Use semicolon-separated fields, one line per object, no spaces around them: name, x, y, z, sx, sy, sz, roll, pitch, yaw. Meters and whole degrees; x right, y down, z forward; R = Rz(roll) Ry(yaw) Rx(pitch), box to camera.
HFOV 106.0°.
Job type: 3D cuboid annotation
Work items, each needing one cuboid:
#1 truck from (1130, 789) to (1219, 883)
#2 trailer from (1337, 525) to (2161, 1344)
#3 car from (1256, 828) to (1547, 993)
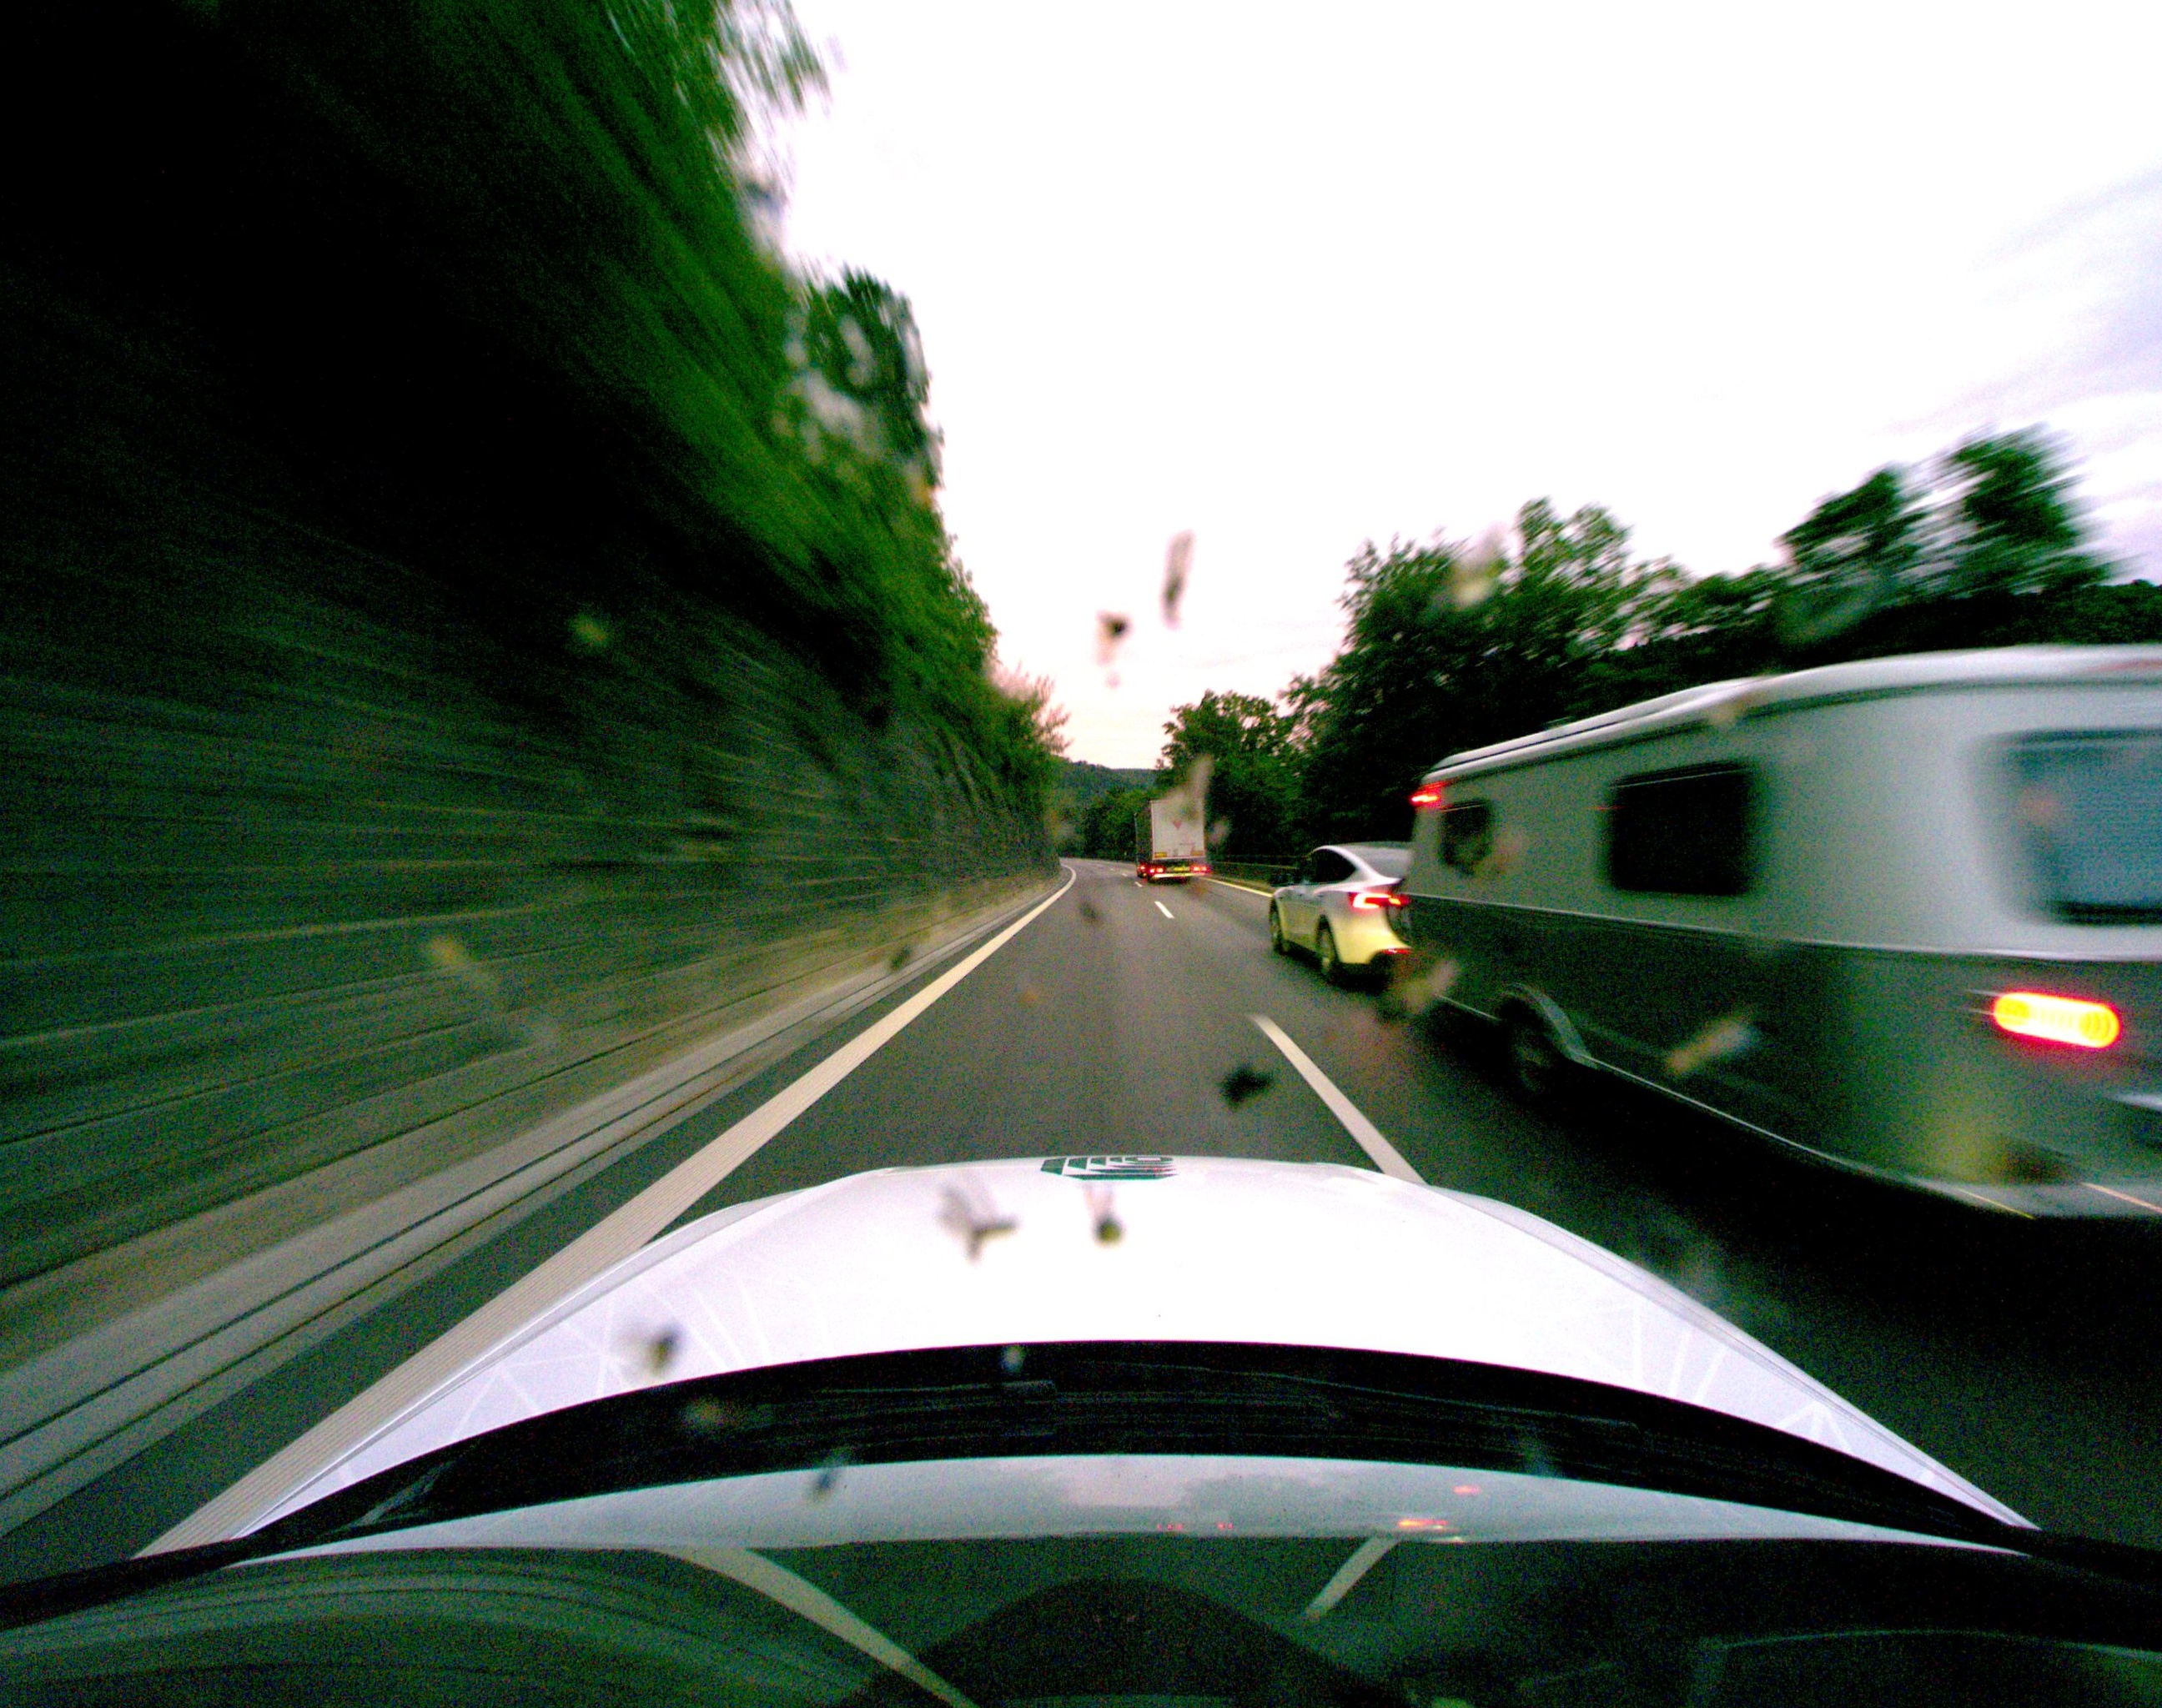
truck;4.720;-0.770;44.975;3.283;4.173;16.505;-1;0;1
trailer;3.522;0.226;5.324;2.046;2.375;5.941;0;0;2
car;3.741;0.582;10.623;1.986;1.614;4.866;-1;0;2
